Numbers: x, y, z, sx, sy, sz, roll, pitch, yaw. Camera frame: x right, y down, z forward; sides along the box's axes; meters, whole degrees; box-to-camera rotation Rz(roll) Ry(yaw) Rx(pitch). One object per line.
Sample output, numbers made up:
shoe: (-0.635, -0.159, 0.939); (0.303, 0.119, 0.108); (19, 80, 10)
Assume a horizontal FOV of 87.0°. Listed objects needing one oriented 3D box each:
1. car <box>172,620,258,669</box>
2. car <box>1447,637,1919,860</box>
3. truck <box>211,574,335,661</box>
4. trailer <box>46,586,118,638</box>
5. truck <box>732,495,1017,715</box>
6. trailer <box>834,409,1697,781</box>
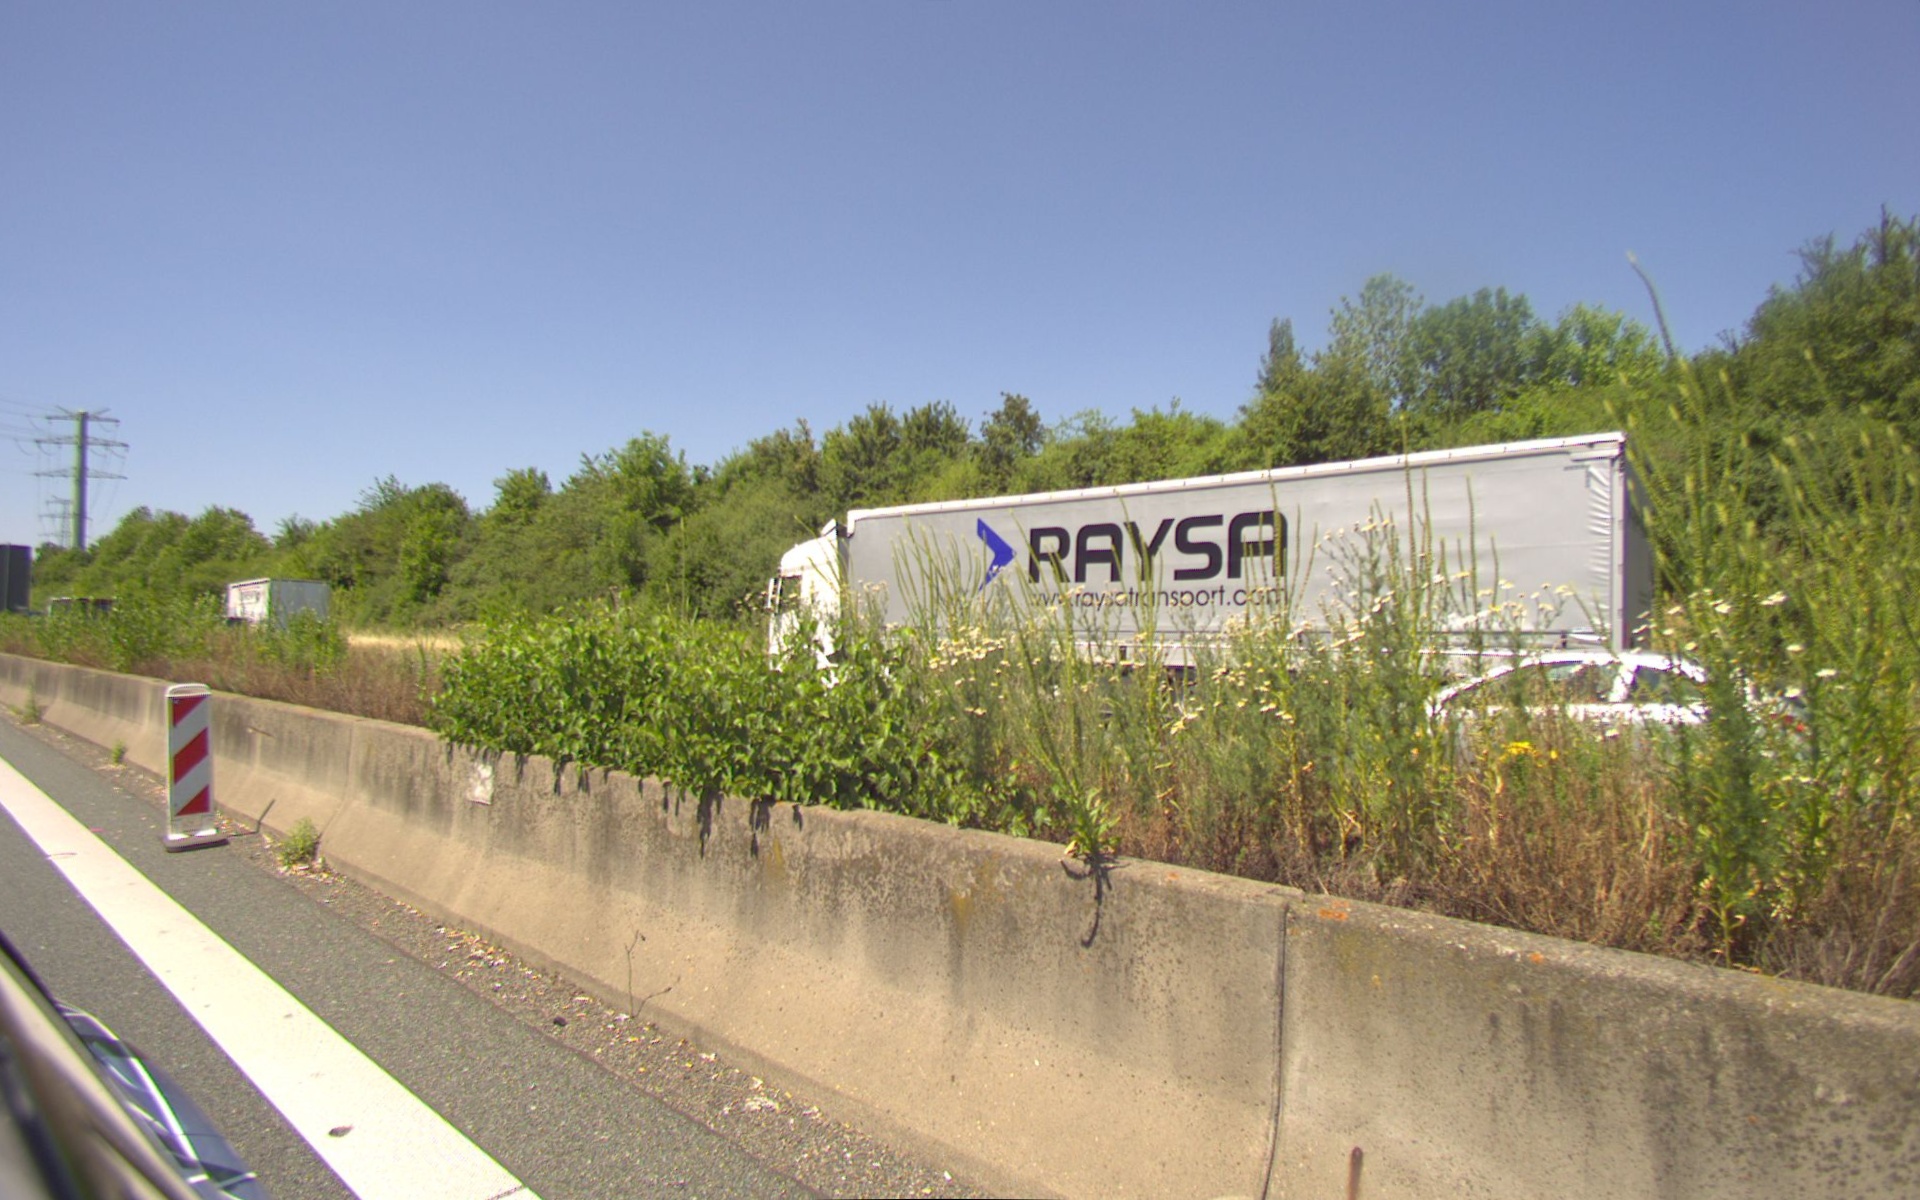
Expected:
car: (-31.496, 1.873, 42.758); (4.427, 1.903, 1.919); (-1, -5, 41)
car: (6.486, 1.101, 8.525); (3.998, 1.544, 1.685); (-1, -2, 41)
truck: (-34.479, 0.929, 50.641); (9.025, 3.918, 2.733); (-1, -5, 41)
trailer: (-77.520, 1.145, 89.201); (14.191, 4.199, 2.724); (-1, -5, 42)
truck: (-1.976, 0.235, 22.326); (5.803, 4.199, 2.984); (-1, -5, 42)
trailer: (3.703, 0.132, 17.178); (14.015, 4.199, 2.984); (-1, -5, 42)
